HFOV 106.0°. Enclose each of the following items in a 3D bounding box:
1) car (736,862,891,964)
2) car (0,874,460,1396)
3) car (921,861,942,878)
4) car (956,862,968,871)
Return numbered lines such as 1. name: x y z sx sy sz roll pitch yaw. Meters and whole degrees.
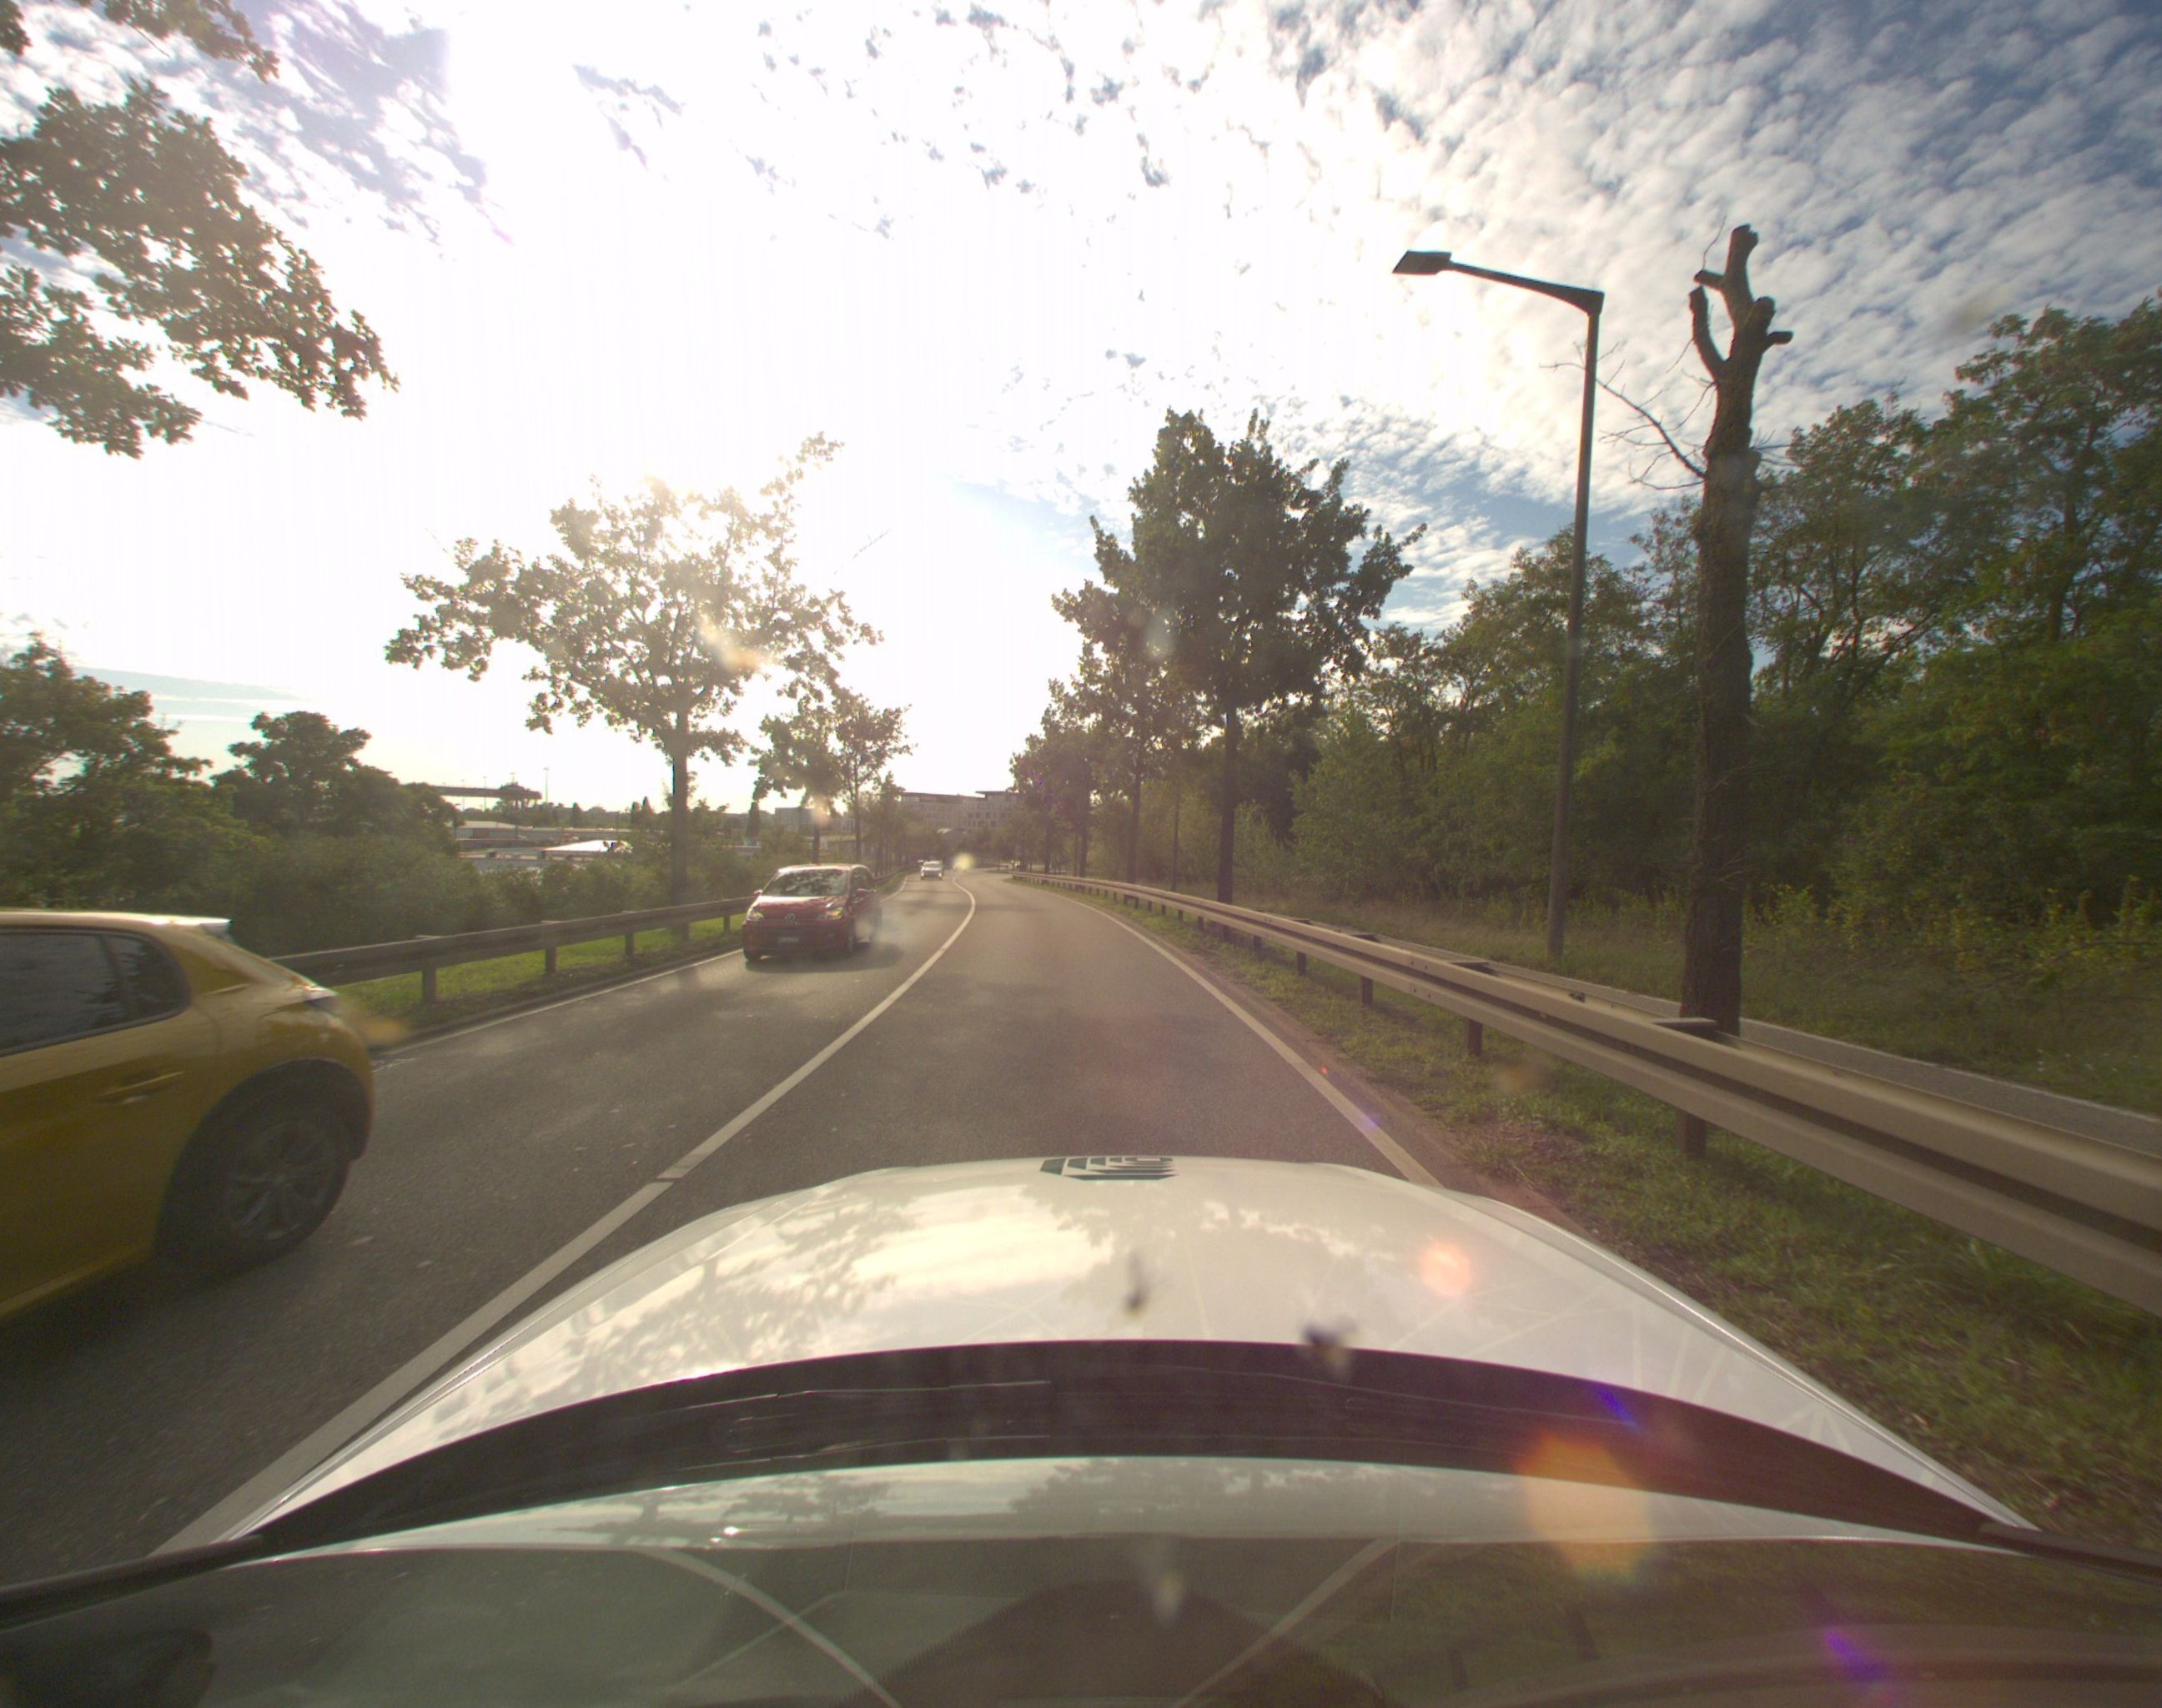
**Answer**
1. car: -4.379 0.893 13.860 1.563 1.425 3.588 0 1 -2
2. car: -3.915 0.802 2.004 1.794 1.425 3.871 0 0 0
3. car: -12.954 1.358 70.714 1.565 1.425 3.582 0 0 -6
4. car: -18.608 1.957 127.657 1.563 1.425 3.587 0 0 -2
